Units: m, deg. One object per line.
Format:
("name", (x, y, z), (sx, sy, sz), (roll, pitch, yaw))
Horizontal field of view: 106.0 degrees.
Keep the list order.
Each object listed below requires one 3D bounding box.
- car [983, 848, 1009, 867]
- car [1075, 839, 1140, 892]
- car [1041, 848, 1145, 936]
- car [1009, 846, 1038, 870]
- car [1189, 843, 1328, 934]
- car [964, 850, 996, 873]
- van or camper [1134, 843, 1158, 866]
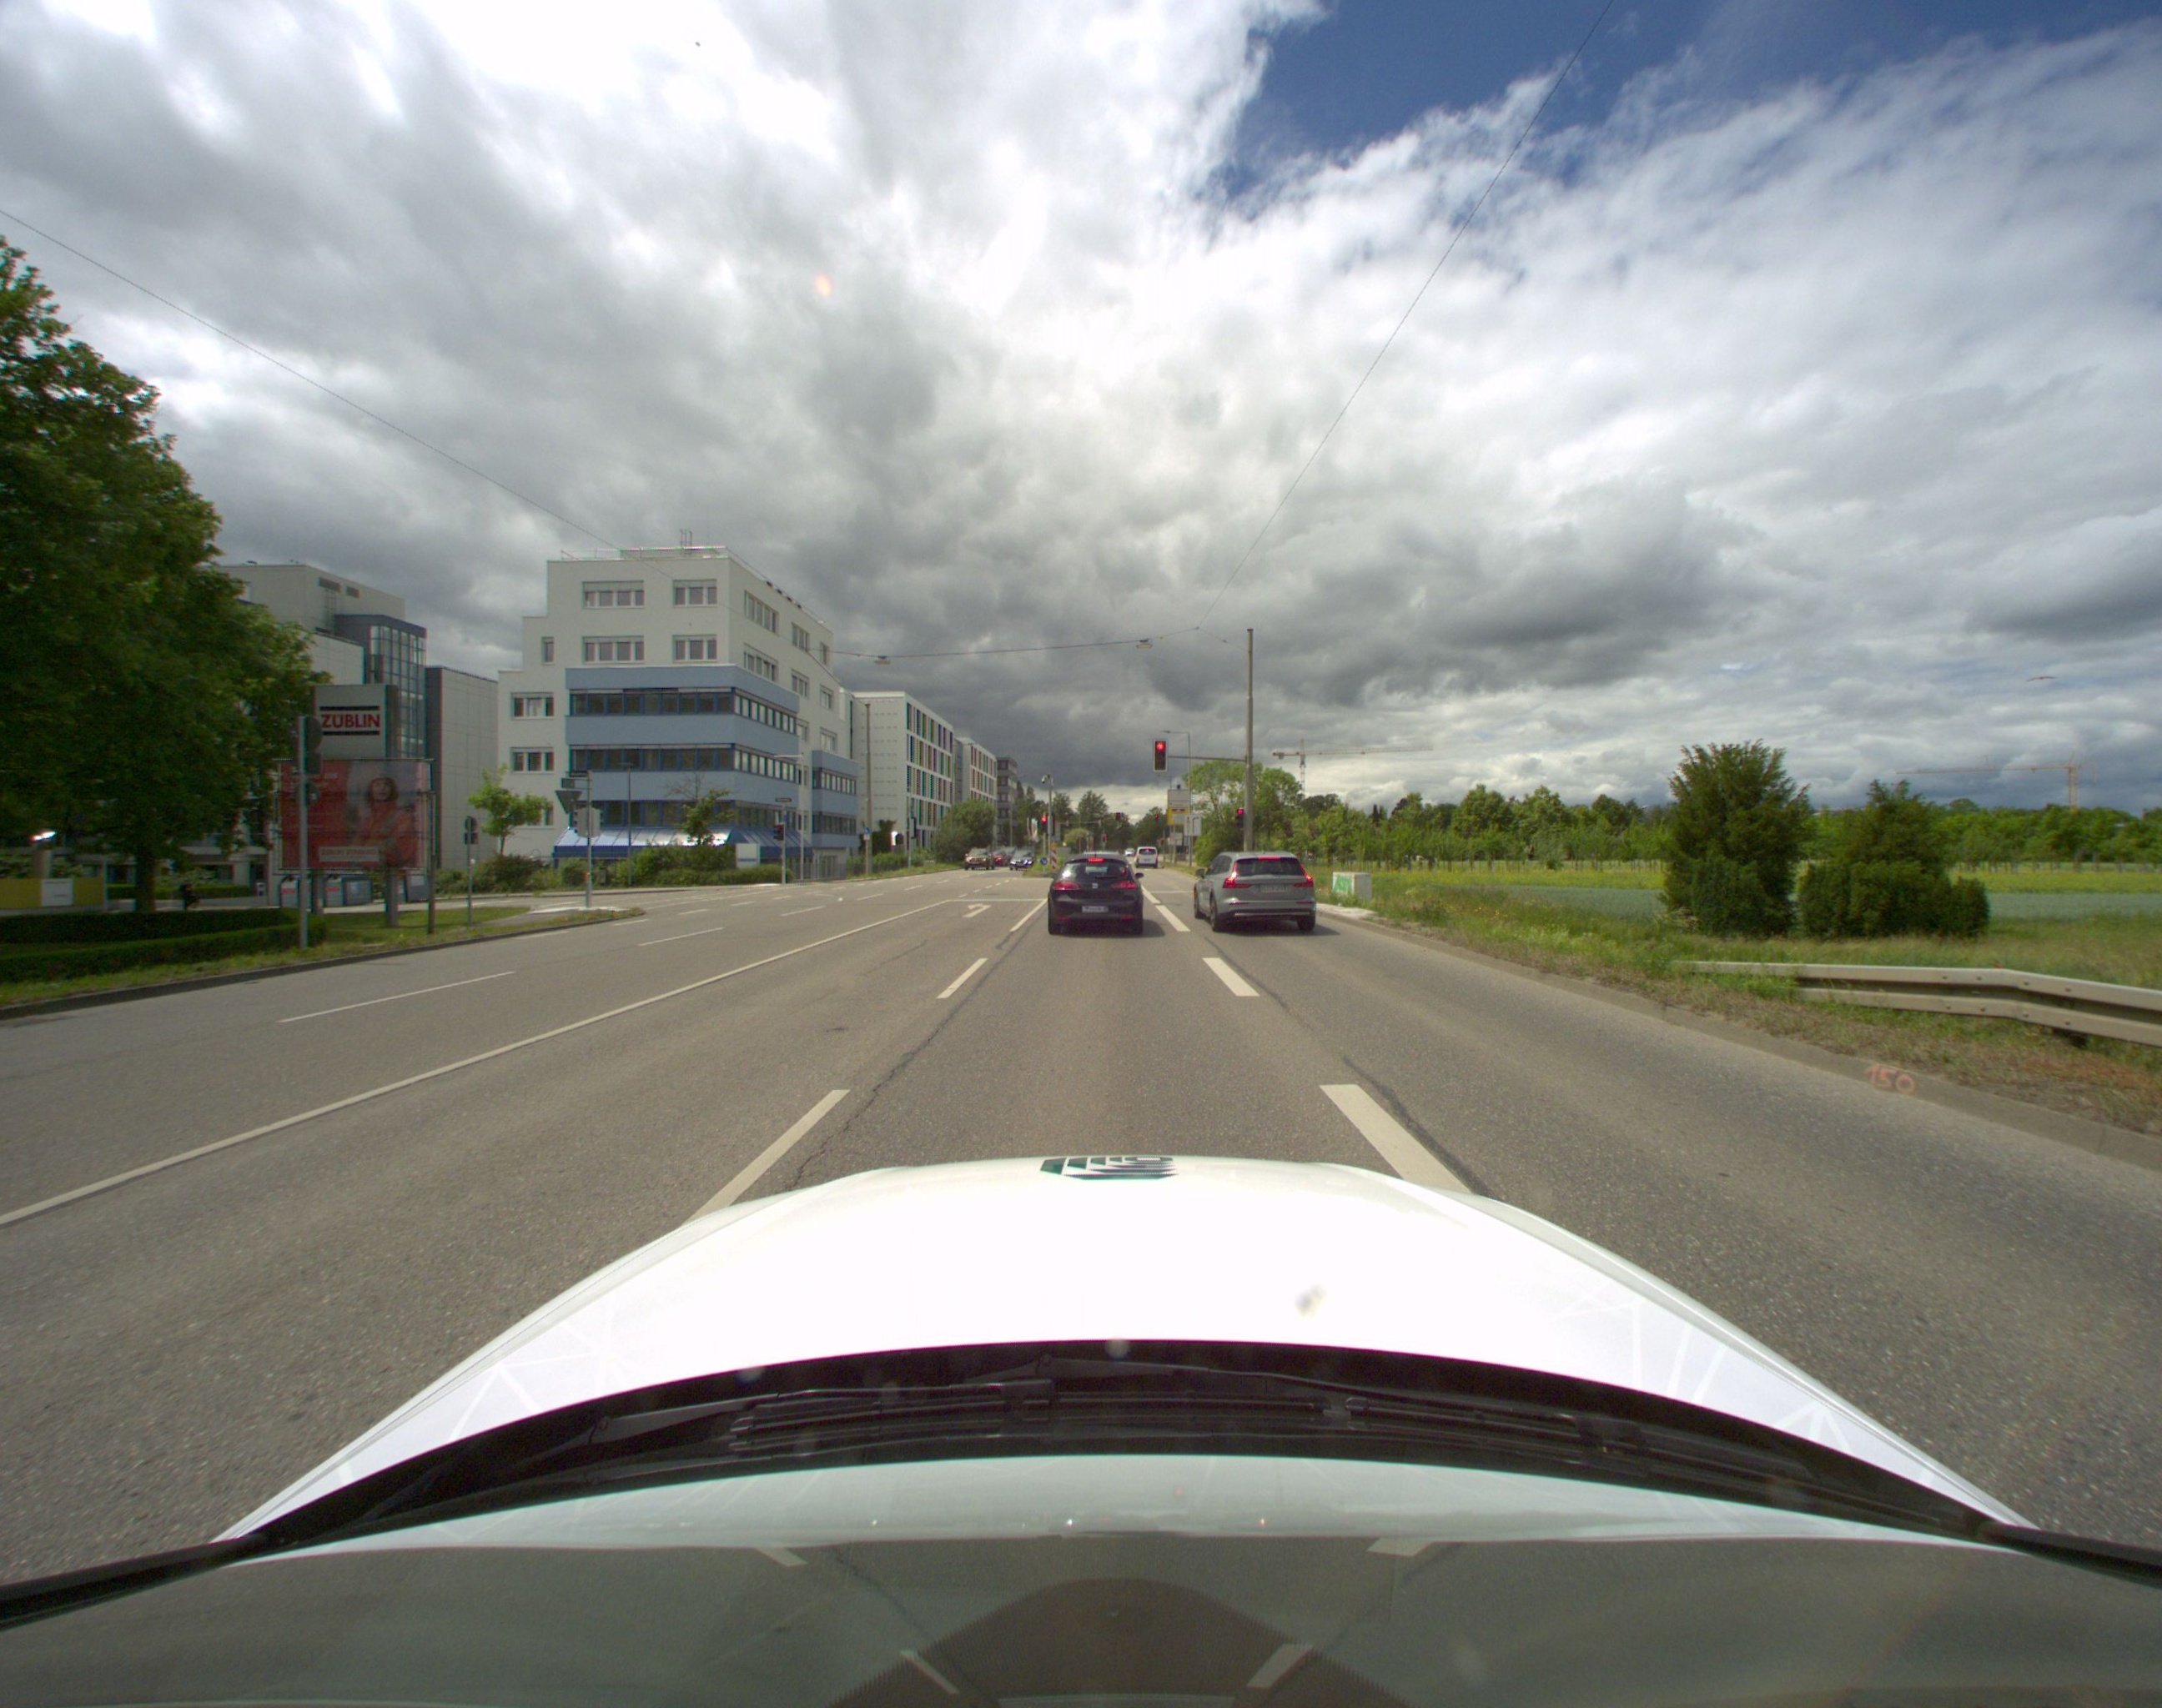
("car", (-7.335, 0.326, 70.760), (1.769, 1.612, 4.001), (-1, 0, 1))
("car", (0.831, 0.334, 26.800), (1.976, 1.590, 4.226), (0, 0, 1))
("car", (0.352, 0.664, 16.011), (1.739, 1.484, 4.005), (1, 0, 5))
("car", (-4.158, 0.272, 59.432), (1.662, 1.524, 4.009), (-2, 1, 1))
("car", (3.355, 0.608, 16.253), (1.950, 1.525, 4.342), (-2, 0, 2))
("car", (-7.504, 0.549, 60.725), (1.745, 1.631, 4.001), (-2, 0, 1))
("van or camper", (5.704, 0.021, 71.702), (1.892, 1.926, 4.001), (-1, 0, 1))
